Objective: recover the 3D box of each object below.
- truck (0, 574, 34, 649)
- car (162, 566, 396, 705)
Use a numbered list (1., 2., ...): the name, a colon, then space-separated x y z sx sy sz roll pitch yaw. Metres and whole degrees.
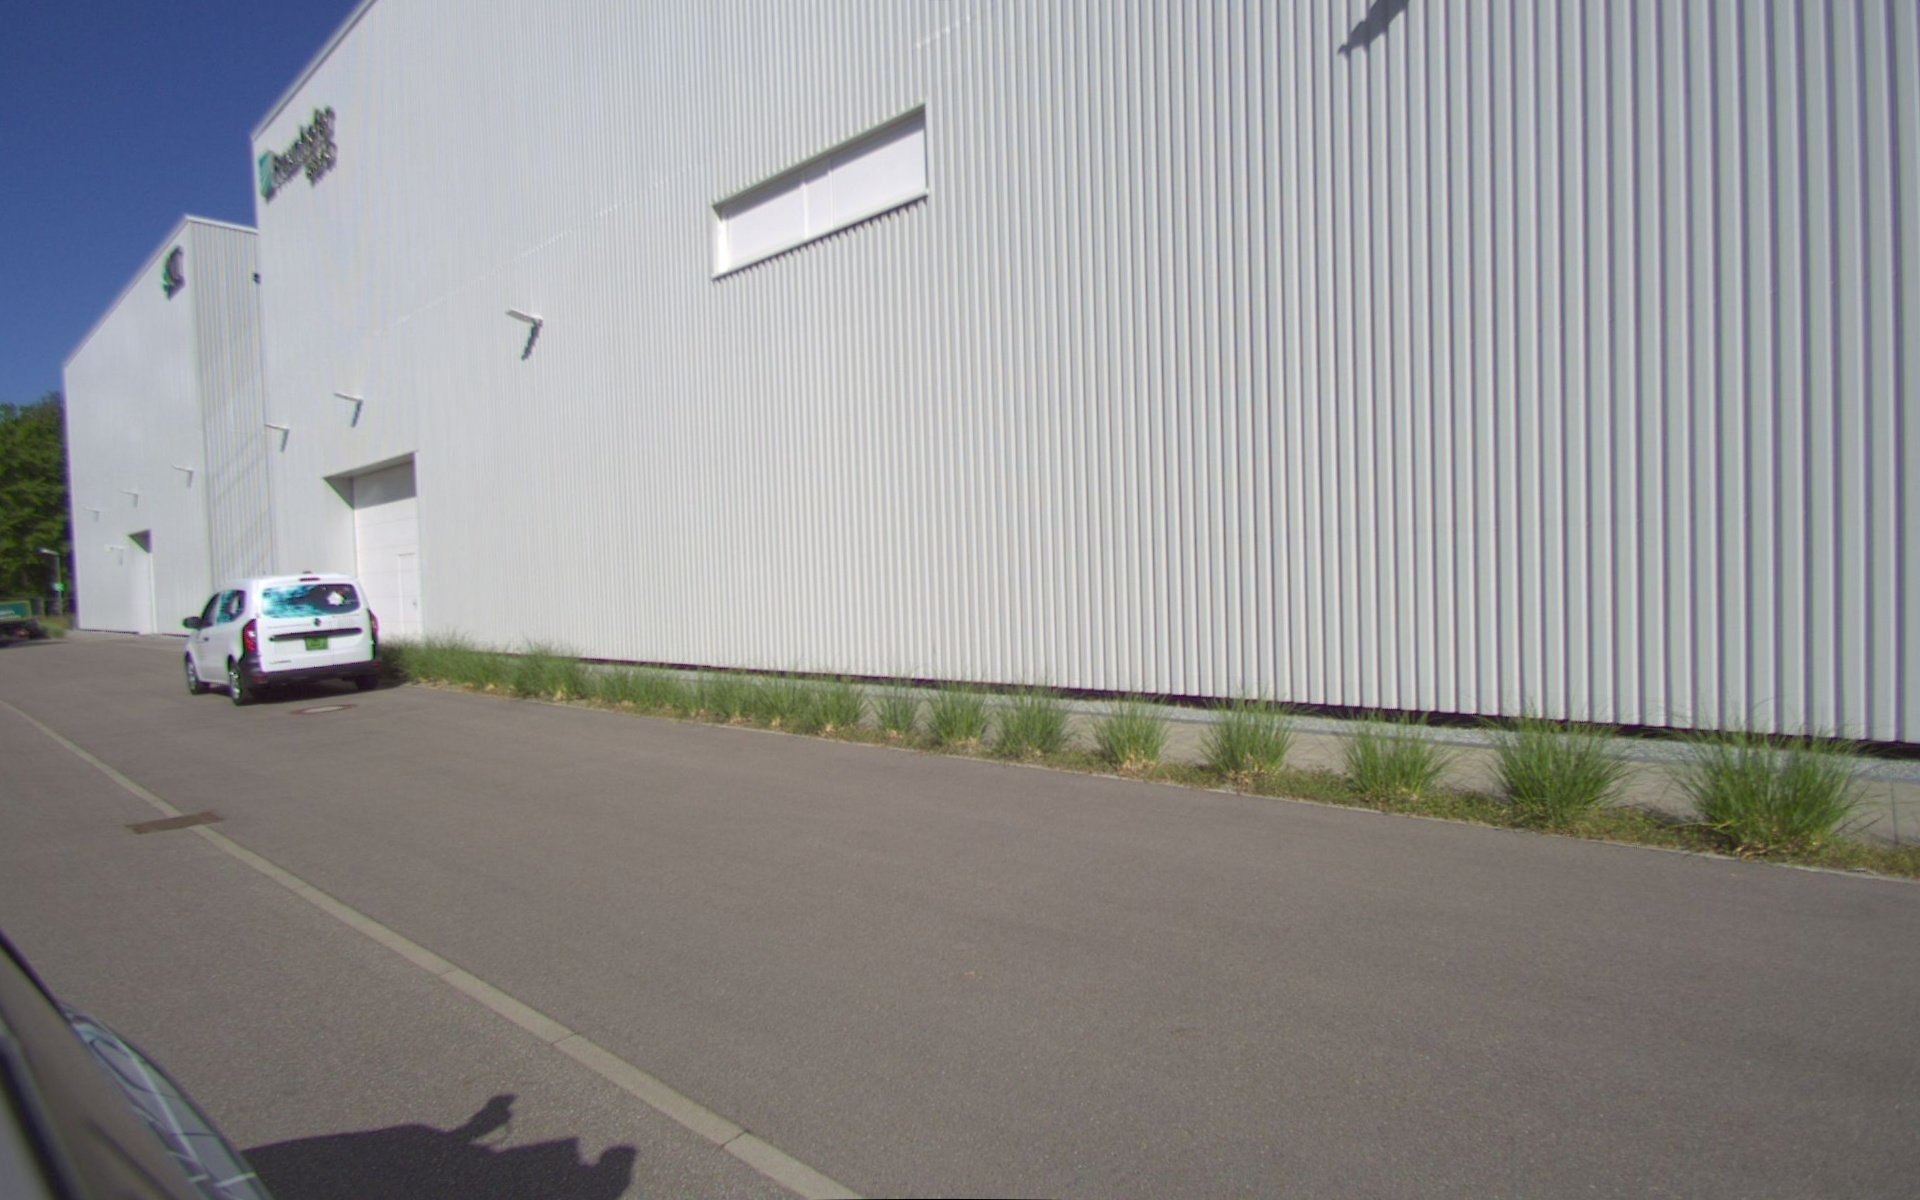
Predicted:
1. truck: -40.063 0.625 39.694 9.655 2.736 2.564 -2 3 30
2. car: -10.756 0.485 15.845 4.597 1.803 1.908 -1 3 42
